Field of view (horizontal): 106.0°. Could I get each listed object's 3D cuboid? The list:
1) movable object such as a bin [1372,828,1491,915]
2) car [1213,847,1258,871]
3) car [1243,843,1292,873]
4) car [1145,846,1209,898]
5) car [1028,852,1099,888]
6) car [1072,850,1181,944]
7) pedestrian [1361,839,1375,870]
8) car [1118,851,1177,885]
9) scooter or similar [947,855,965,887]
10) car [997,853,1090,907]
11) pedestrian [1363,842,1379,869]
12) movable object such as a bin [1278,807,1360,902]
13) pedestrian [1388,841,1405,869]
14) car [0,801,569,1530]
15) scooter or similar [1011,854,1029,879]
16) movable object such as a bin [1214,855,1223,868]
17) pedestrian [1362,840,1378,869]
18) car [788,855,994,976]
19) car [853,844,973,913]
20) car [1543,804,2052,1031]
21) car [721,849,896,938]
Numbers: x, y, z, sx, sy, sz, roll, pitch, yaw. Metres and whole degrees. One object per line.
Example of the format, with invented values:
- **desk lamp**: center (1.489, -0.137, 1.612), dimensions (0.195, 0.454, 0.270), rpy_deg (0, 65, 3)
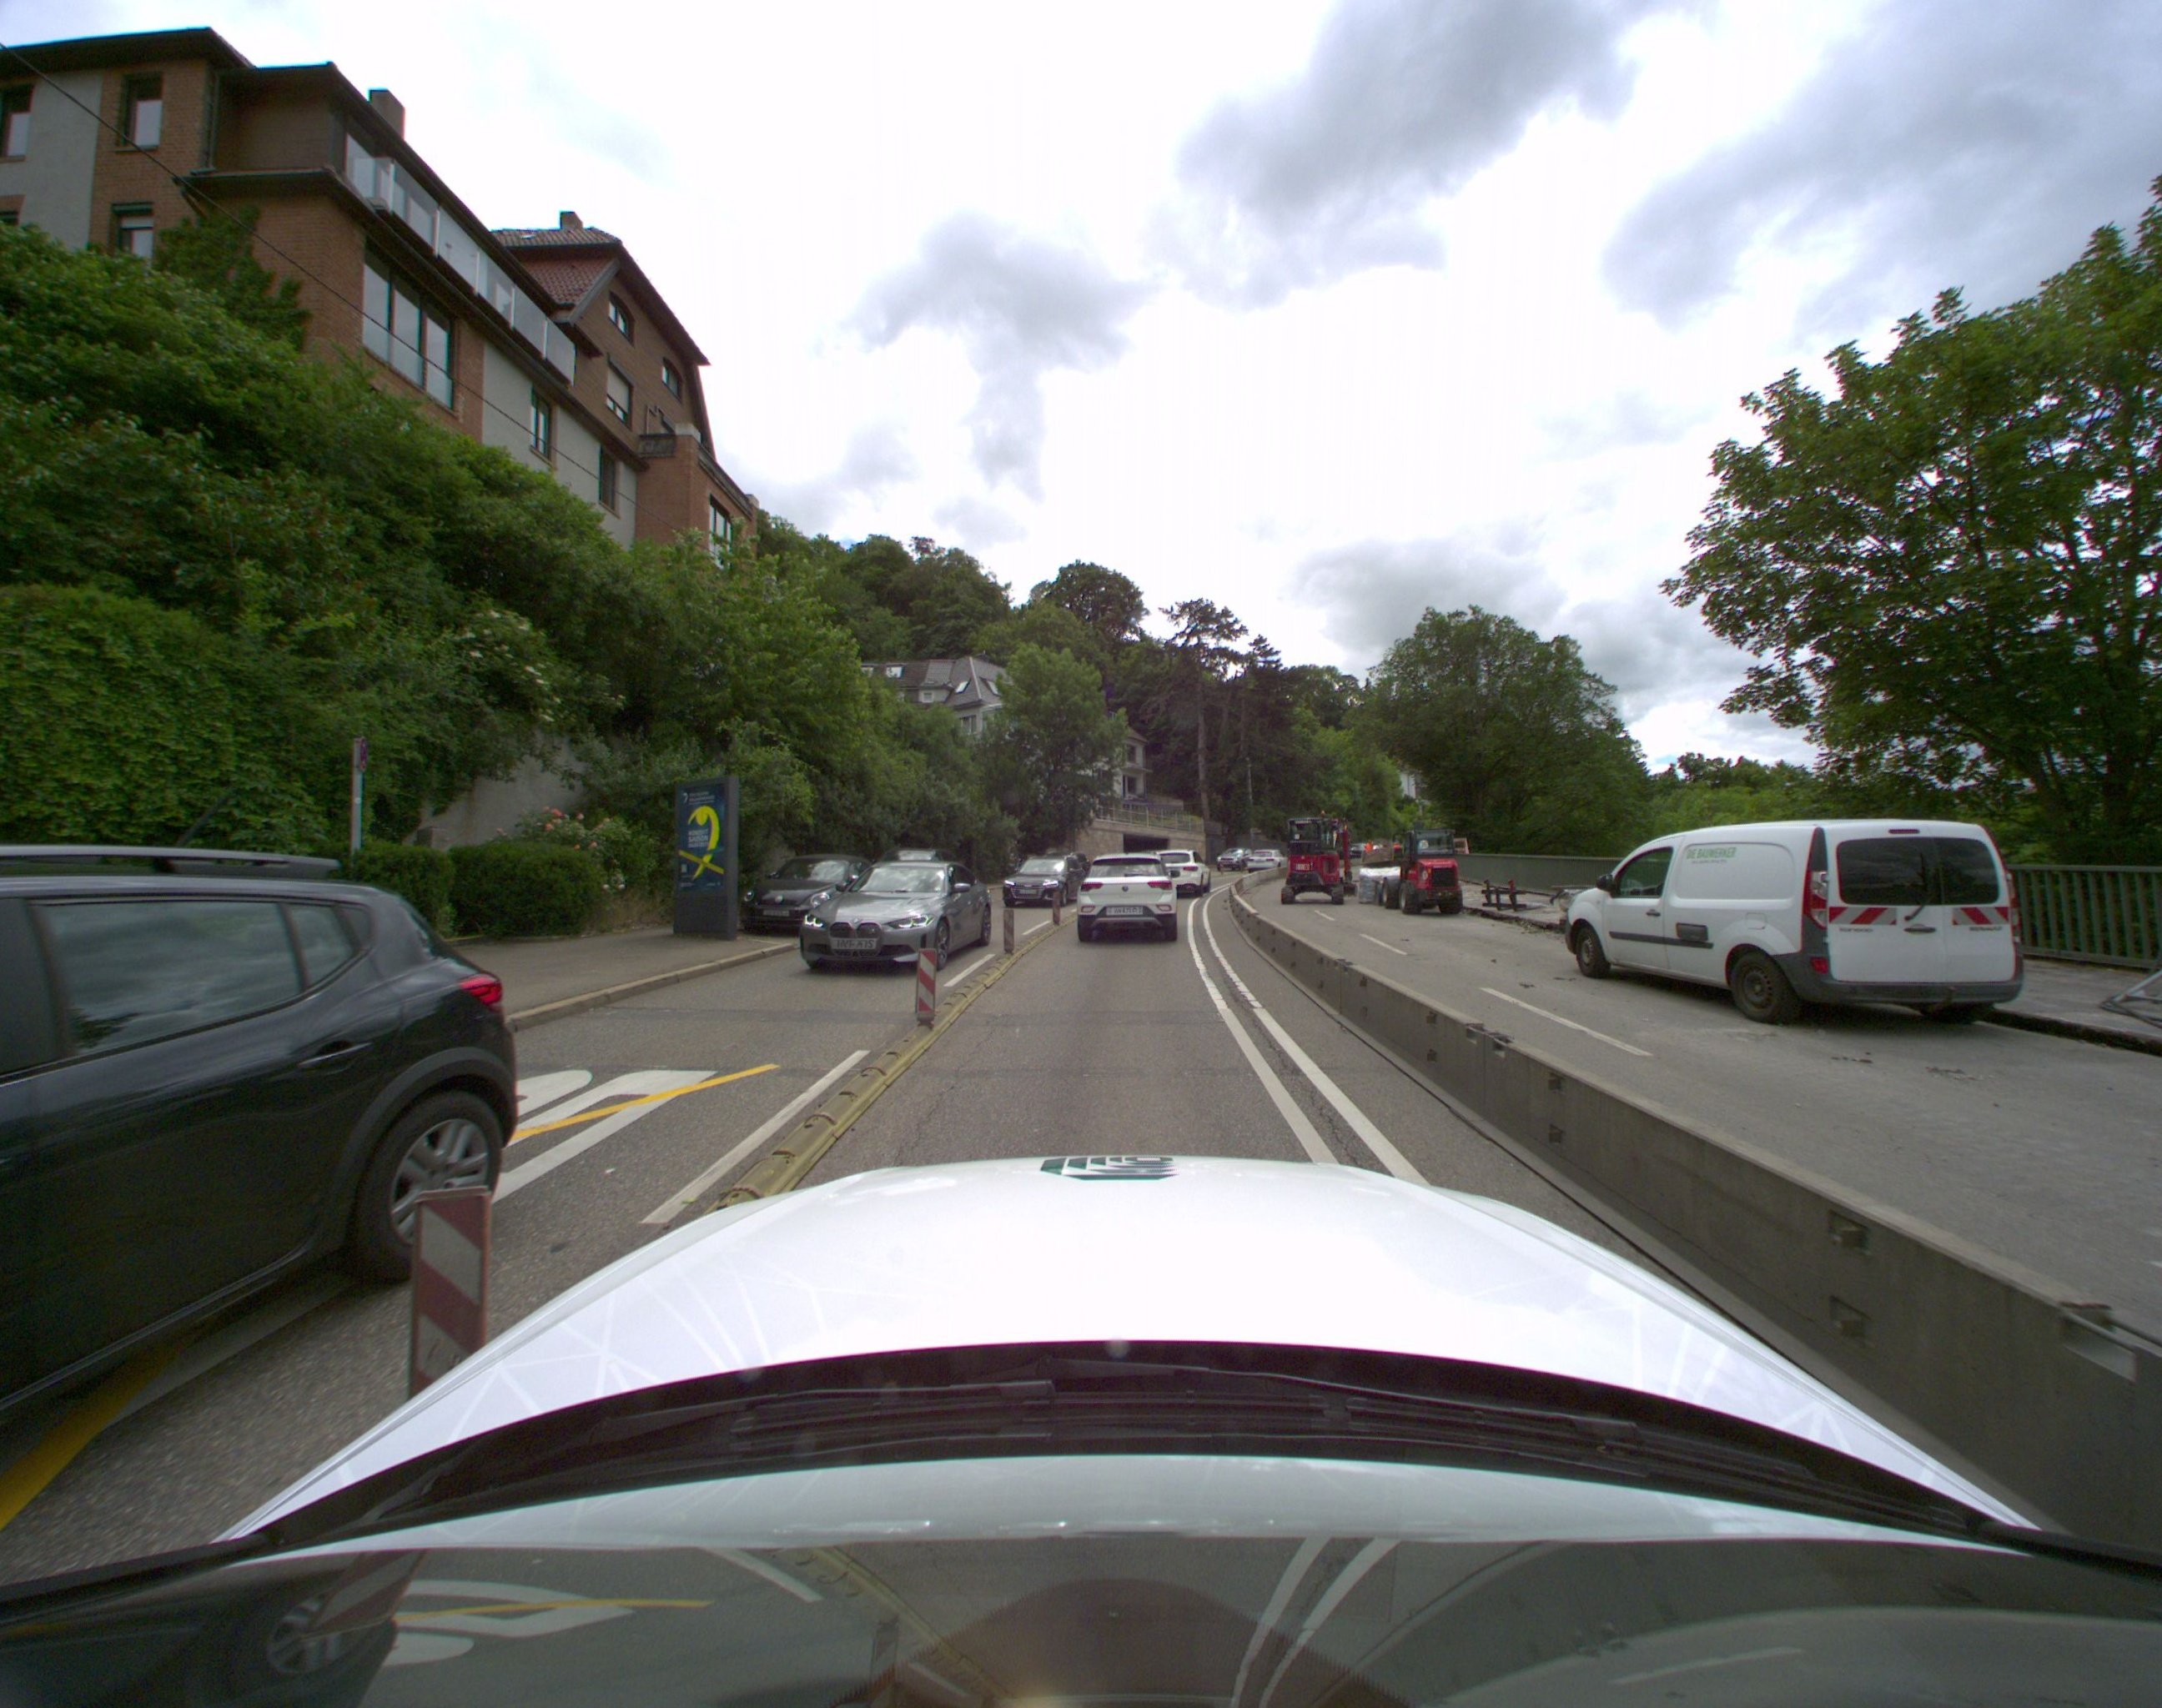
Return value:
- **movable object such as a bin**: center (8.617, 0.385, 20.401), dimensions (1.692, 1.943, 4.174), rpy_deg (-1, 0, 8)
- **car**: center (10.611, 0.310, 55.779), dimensions (1.750, 1.518, 4.050), rpy_deg (0, 0, 30)
- **car**: center (11.434, 0.232, 49.685), dimensions (1.792, 1.663, 4.025), rpy_deg (-2, 0, 29)
- **car**: center (3.477, 0.577, 28.884), dimensions (1.797, 1.663, 4.013), rpy_deg (-2, 0, 12)
- **car**: center (-0.707, 0.659, 36.576), dimensions (1.722, 1.451, 4.705), rpy_deg (2, 1, 18)
- **car**: center (0.933, 0.720, 15.744), dimensions (1.801, 1.531, 4.005), rpy_deg (-2, 0, 5)
- **pedestrian**: center (18.074, 0.020, 51.268), dimensions (0.686, 1.906, 0.828), rpy_deg (-2, 0, 10)
- **car**: center (3.390, 0.642, 40.623), dimensions (1.752, 1.568, 4.252), rpy_deg (0, 0, 22)
- **scooter or similar**: center (-4.899, 0.651, 31.908), dimensions (0.347, 1.213, 1.049), rpy_deg (1, 0, 10)
- **car**: center (-1.028, 0.717, 25.006), dimensions (1.783, 1.446, 4.377), rpy_deg (0, 1, 12)
- **pedestrian**: center (18.612, 0.078, 52.234), dimensions (0.868, 1.731, 0.883), rpy_deg (-2, 0, 22)
- **movable object such as a bin**: center (7.446, 0.009, 25.436), dimensions (2.194, 2.663, 4.967), rpy_deg (-1, 0, 17)
- **pedestrian**: center (19.451, 0.086, 50.226), dimensions (0.775, 1.688, 0.790), rpy_deg (-2, 0, 38)
- **car**: center (-3.309, 0.691, 1.847), dimensions (1.809, 1.622, 3.820), rpy_deg (0, 0, 1)
- **scooter or similar**: center (-2.959, 0.598, 39.588), dimensions (0.412, 1.232, 1.127), rpy_deg (1, 0, 21)
- **movable object such as a bin**: center (10.815, 0.581, 63.951), dimensions (0.543, 0.977, 0.513), rpy_deg (-2, -1, 35)
- **pedestrian**: center (18.912, 0.031, 53.258), dimensions (0.868, 1.822, 0.883), rpy_deg (-2, 0, 22)
- **car**: center (-2.612, 0.778, 12.351), dimensions (1.787, 1.482, 4.334), rpy_deg (1, 0, 4)
- **car**: center (-4.312, 0.594, 21.589), dimensions (1.677, 1.606, 4.197), rpy_deg (1, 0, 9)
- **car**: center (6.869, 0.499, 8.587), dimensions (1.824, 1.779, 4.273), rpy_deg (-1, 0, 4)
- **car**: center (-5.243, 0.690, 16.303), dimensions (1.785, 1.510, 4.006), rpy_deg (1, 0, 6)
